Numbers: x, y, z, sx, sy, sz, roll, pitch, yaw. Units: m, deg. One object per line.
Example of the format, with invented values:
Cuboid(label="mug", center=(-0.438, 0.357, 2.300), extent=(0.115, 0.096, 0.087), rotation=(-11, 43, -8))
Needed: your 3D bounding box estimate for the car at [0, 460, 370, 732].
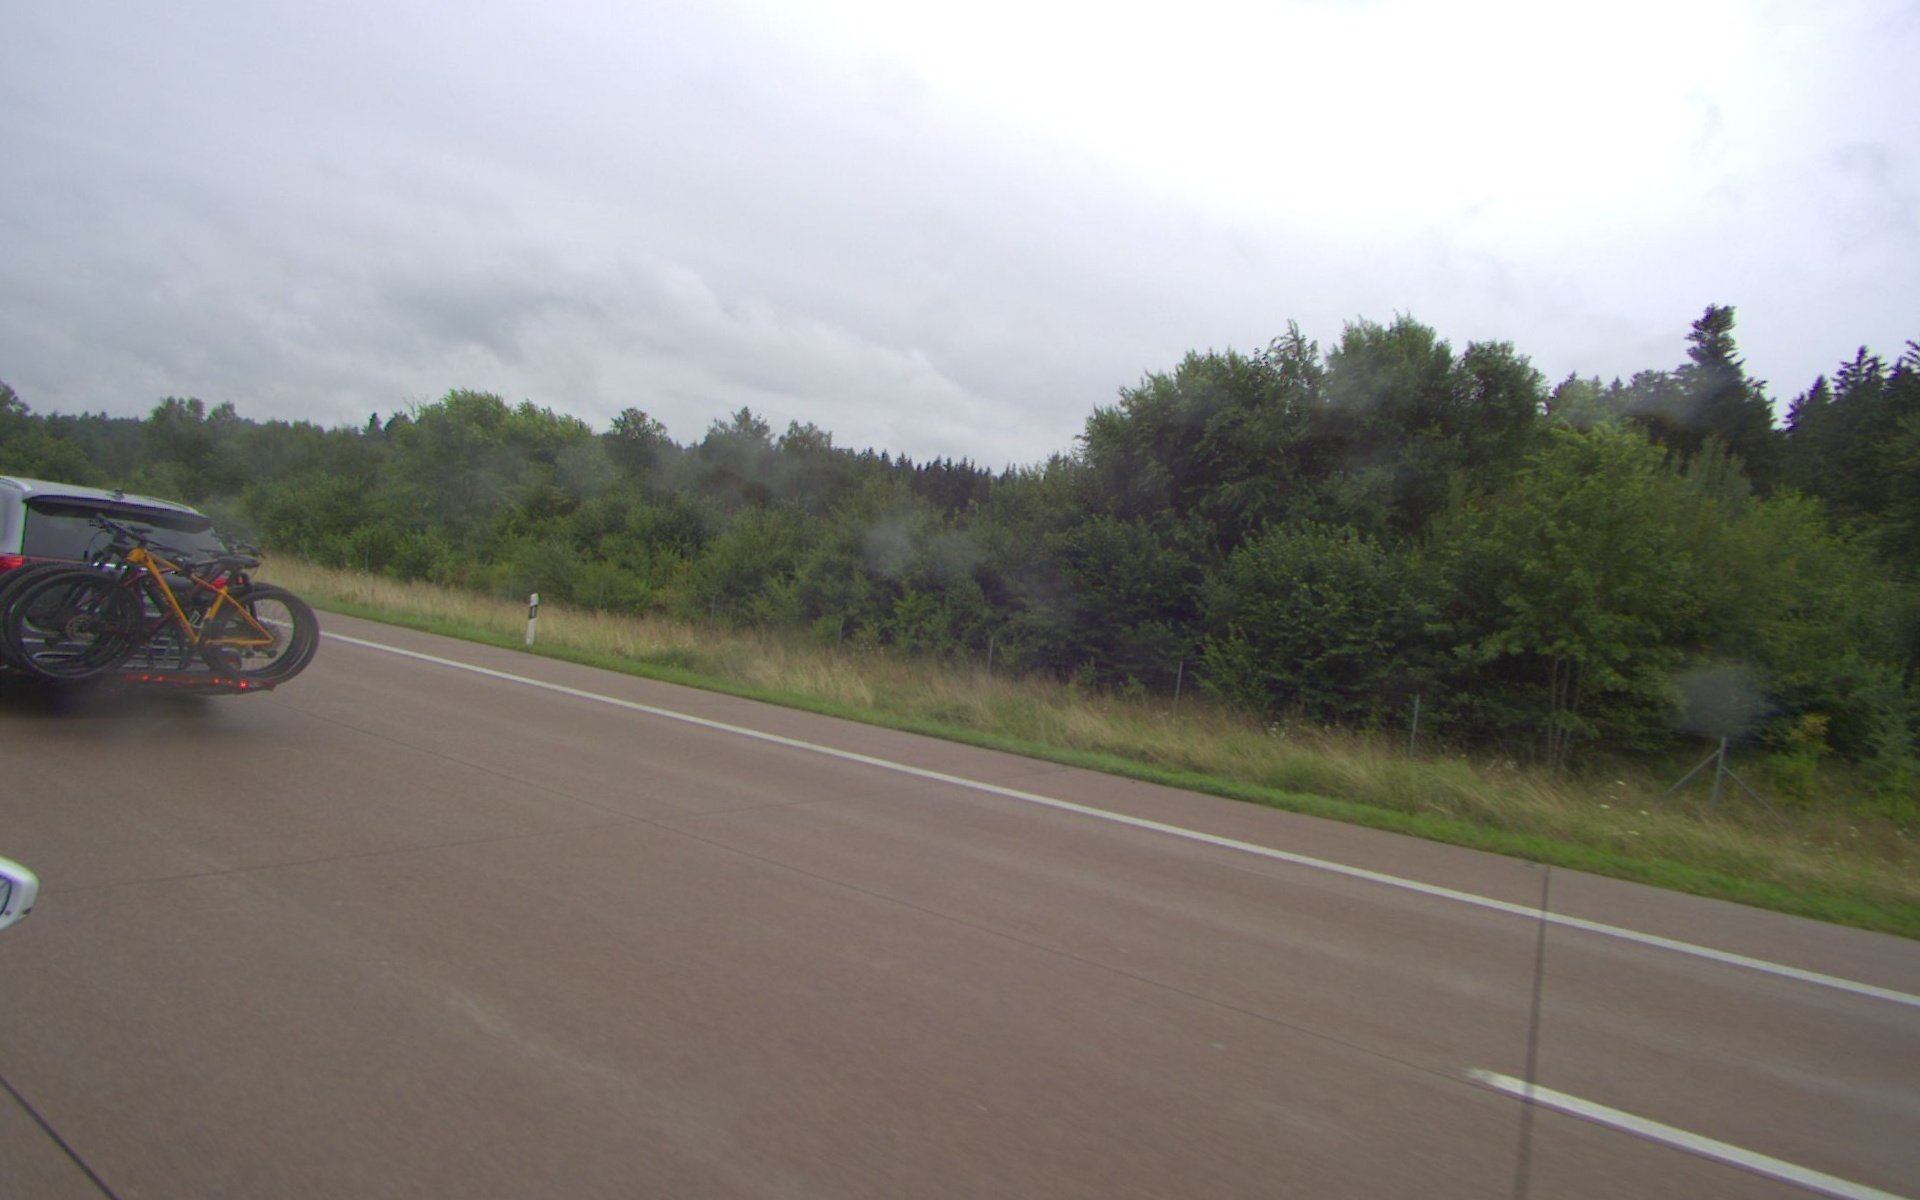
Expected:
Cuboid(label="car", center=(-7.502, -0.167, 8.338), extent=(5.725, 1.611, 1.997), rotation=(6, -2, 33))
